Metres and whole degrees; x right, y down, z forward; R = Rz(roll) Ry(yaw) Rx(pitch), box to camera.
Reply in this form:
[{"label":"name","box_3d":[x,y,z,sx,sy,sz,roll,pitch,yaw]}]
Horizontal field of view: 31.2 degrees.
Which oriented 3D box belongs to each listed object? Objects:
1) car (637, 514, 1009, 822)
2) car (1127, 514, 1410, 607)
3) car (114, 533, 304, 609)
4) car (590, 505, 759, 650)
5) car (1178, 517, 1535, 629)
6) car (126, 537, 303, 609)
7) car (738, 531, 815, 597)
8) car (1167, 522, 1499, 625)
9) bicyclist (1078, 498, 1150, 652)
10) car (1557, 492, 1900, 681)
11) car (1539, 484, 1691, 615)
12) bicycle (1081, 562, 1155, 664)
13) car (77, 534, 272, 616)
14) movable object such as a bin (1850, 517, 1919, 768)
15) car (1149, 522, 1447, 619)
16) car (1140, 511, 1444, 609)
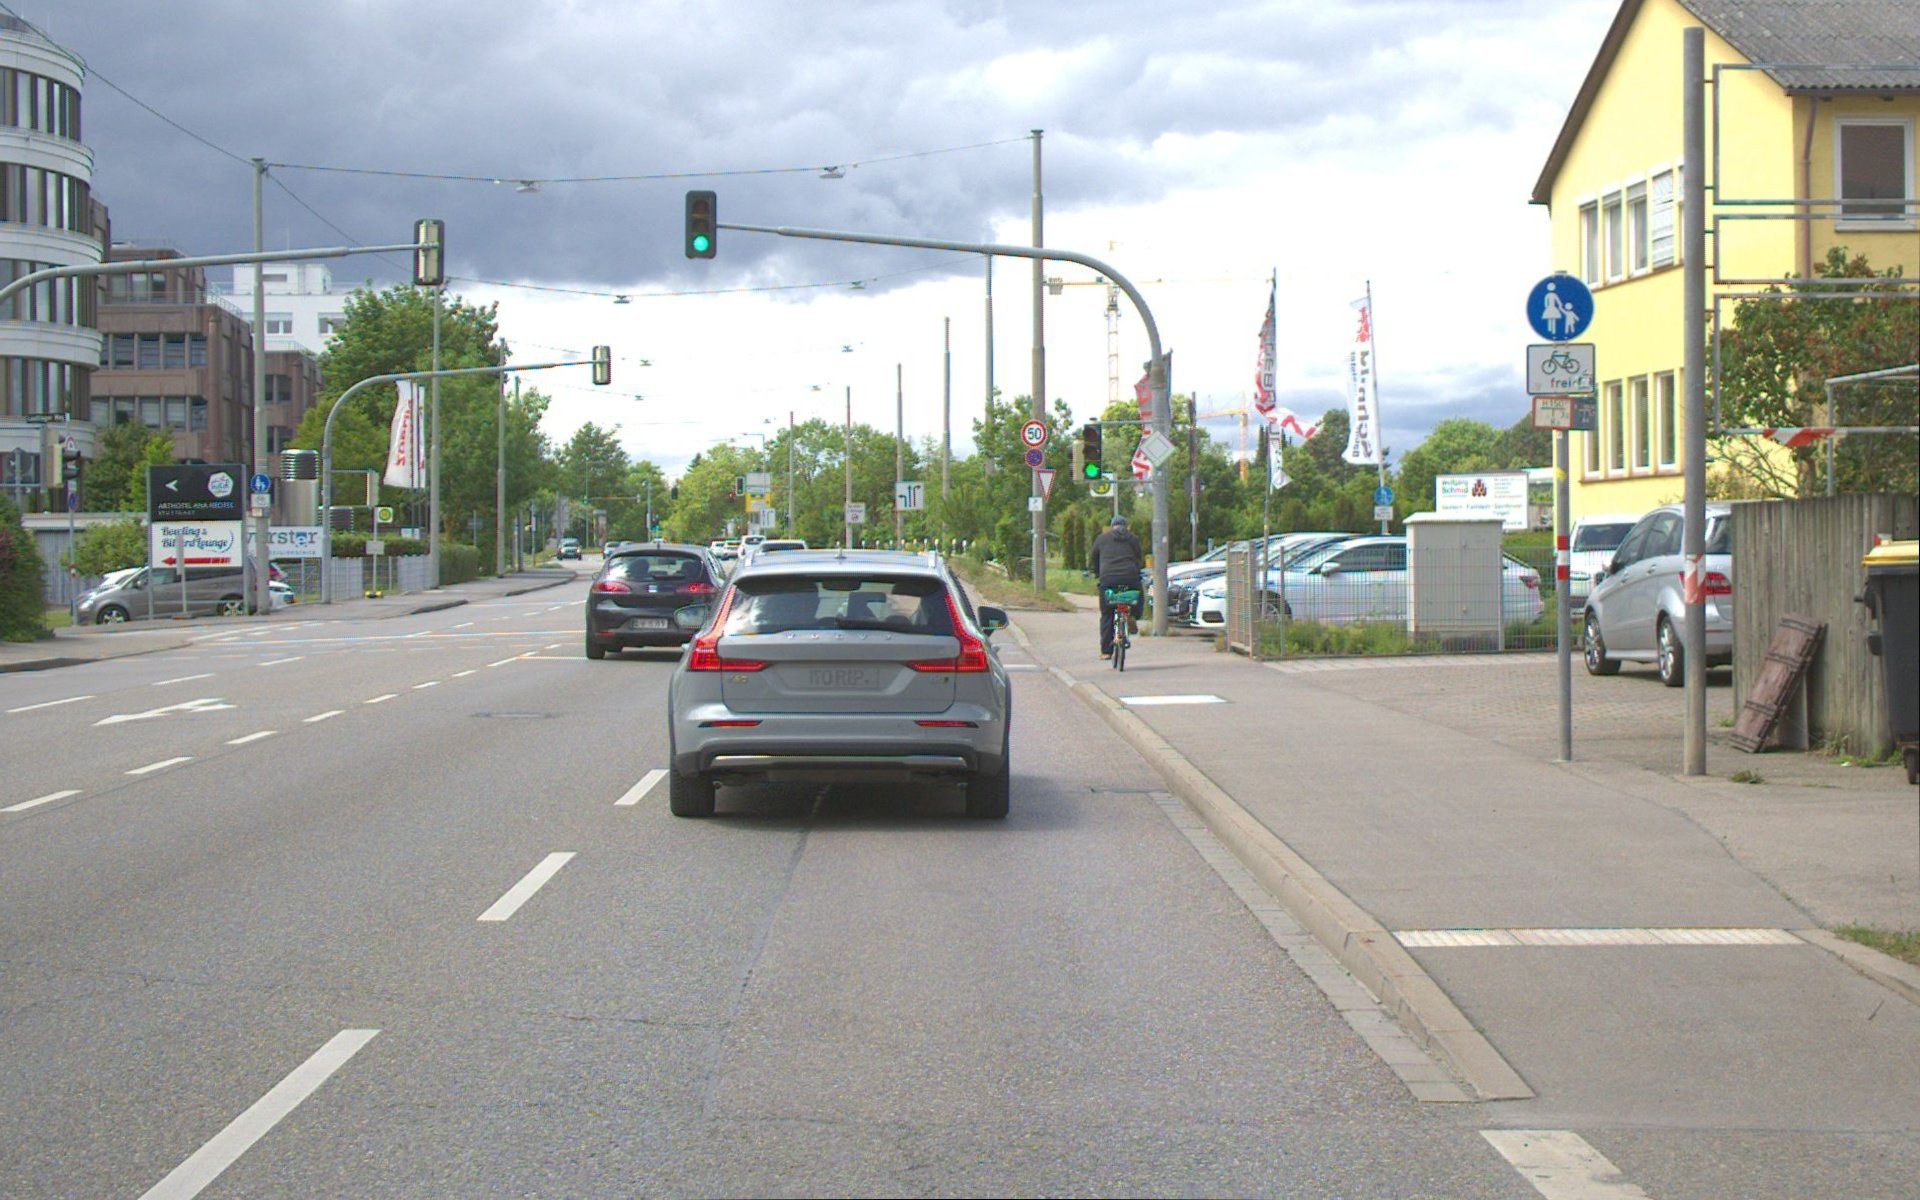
[{"label":"car","box_3d":[-0.704,0.341,19.806,1.895,1.549,4.000,1,0,0]},{"label":"car","box_3d":[5.289,-0.698,59.428,4.676,1.488,2.015,1,1,0]},{"label":"car","box_3d":[-18.270,-0.704,83.792,4.223,1.382,1.985,-6,1,-7]},{"label":"car","box_3d":[-3.582,-0.290,43.602,1.993,1.711,4.001,1,0,-4]},{"label":"car","box_3d":[5.503,-0.395,48.150,4.696,1.488,2.046,0,2,-2]},{"label":"car","box_3d":[-18.698,-0.675,86.328,3.987,1.365,1.848,-6,1,-3]},{"label":"car","box_3d":[-4.957,-0.967,93.214,1.993,1.689,4.000,1,0,-2]},{"label":"car","box_3d":[5.490,-0.411,51.028,4.659,1.488,2.035,0,1,-1]},{"label":"bicyclist","box_3d":[1.729,-0.289,38.724,0.638,1.670,0.890,-4,1,-1]},{"label":"car","box_3d":[6.810,-0.169,30.955,1.875,1.540,4.522,-1,1,-2]},{"label":"car","box_3d":[9.644,-0.723,50.930,1.977,1.815,5.028,-1,0,9]},{"label":"bicycle","box_3d":[1.767,0.129,38.697,0.638,1.059,1.978,-4,1,-1]},{"label":"car","box_3d":[-17.940,-0.577,78.676,4.092,1.393,1.909,-6,3,-8]},{"label":"movable object such as a bin","box_3d":[5.634,0.224,19.094,1.320,1.356,1.250,-1,0,15]},{"label":"car","box_3d":[5.263,-0.477,53.899,4.368,1.399,1.989,1,1,-3]},{"label":"car","box_3d":[5.436,-0.666,56.743,4.800,1.475,2.032,1,1,0]}]
